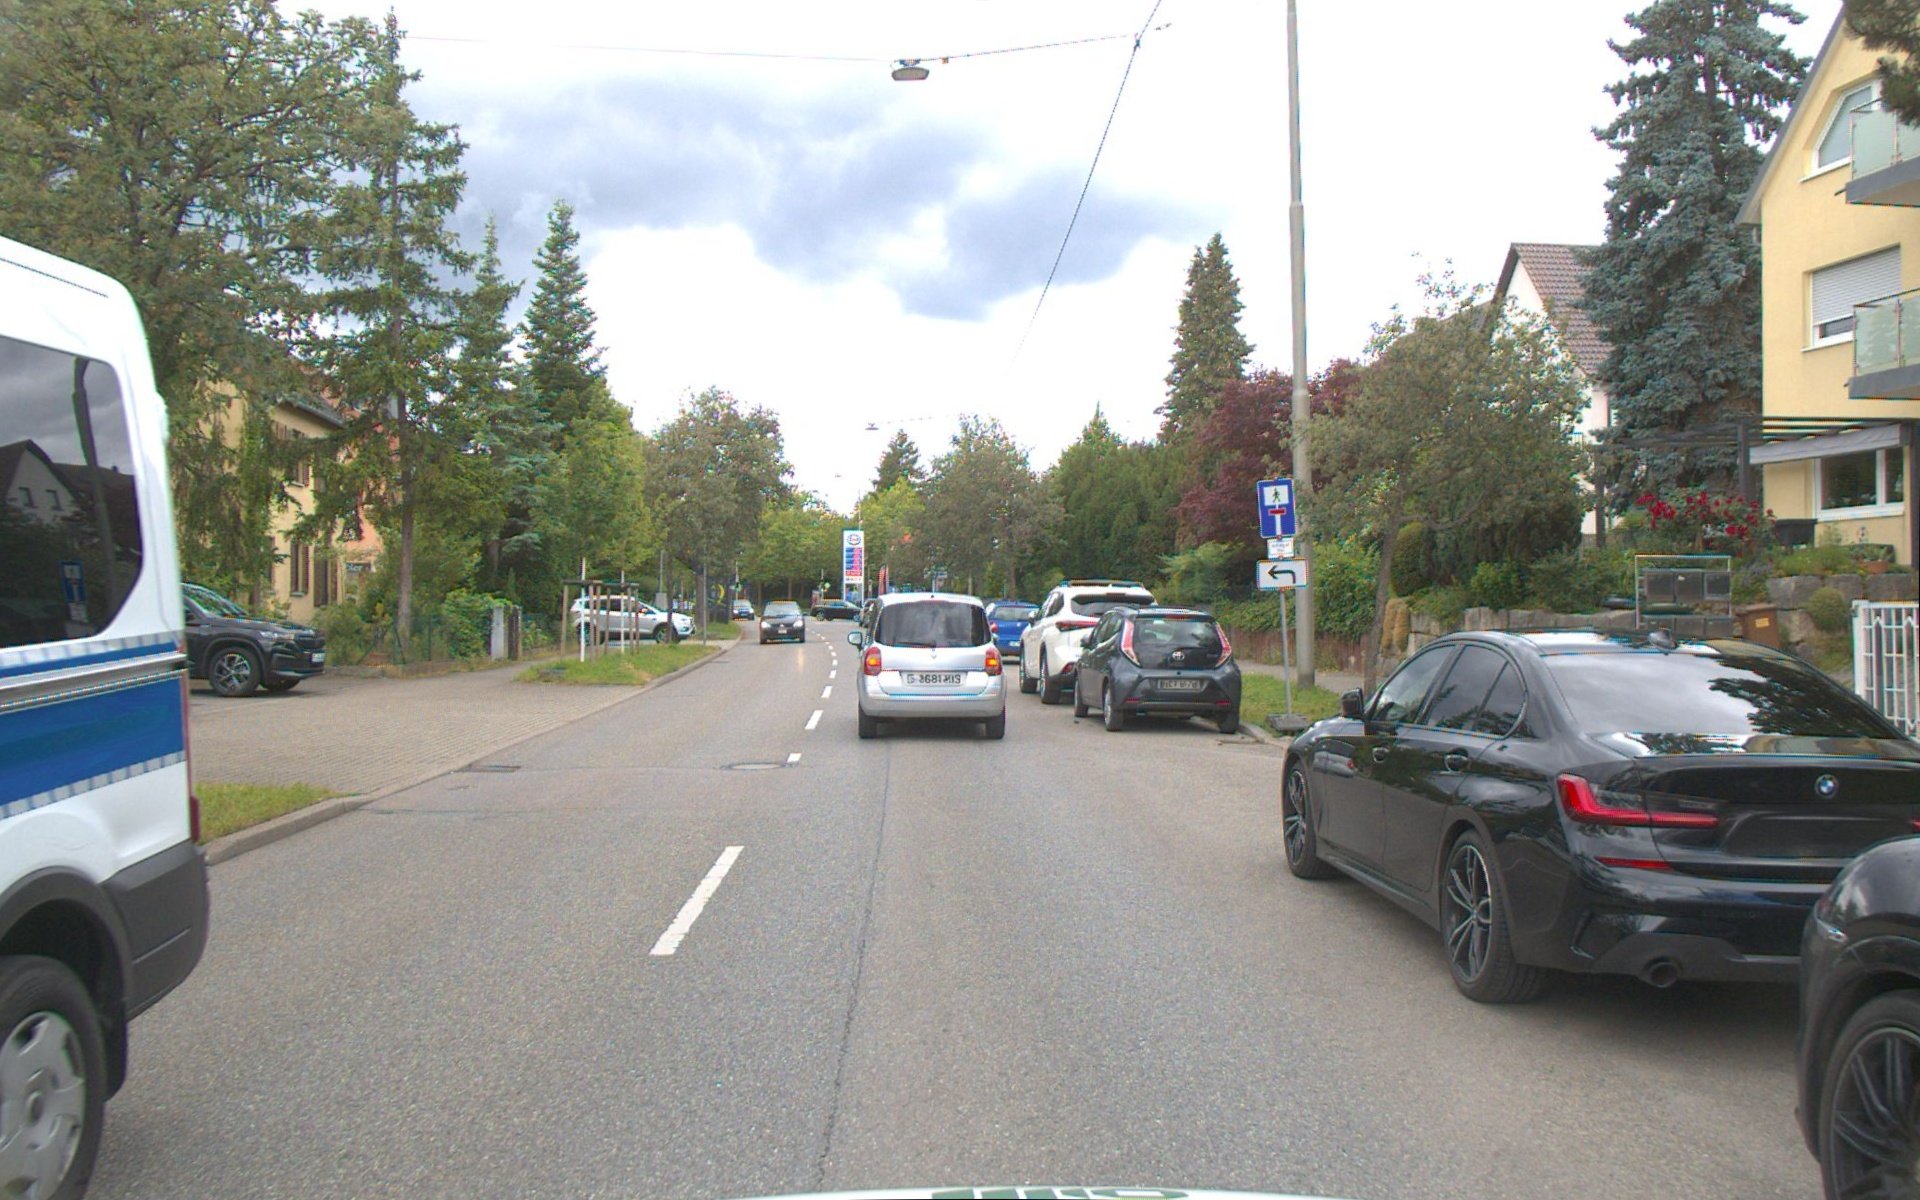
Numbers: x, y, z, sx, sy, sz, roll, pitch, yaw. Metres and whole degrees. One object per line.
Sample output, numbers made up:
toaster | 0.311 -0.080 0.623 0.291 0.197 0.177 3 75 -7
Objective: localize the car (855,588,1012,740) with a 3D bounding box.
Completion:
car | -0.329 0.684 19.207 1.645 1.587 3.510 0 0 -2

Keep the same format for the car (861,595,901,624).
car | -4.181 0.477 87.379 1.664 1.532 3.964 0 0 -9

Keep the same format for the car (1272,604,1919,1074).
car | 2.859 0.795 7.671 1.793 1.482 4.548 1 0 -2

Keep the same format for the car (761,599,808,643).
car | -6.318 0.742 59.848 1.544 1.498 3.467 -3 0 -5

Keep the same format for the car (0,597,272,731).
car | -10.360 0.690 18.941 4.198 1.392 1.813 2 0 -8

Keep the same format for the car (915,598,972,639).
car | -0.641 0.659 61.675 1.664 1.458 4.333 0 0 -7

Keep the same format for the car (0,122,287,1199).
car | -3.079 0.286 2.481 2.032 2.627 5.298 -2 0 -2

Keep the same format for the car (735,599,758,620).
car | -15.622 0.698 120.999 1.516 1.496 3.733 -1 0 -10

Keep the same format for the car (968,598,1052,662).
car | 1.189 0.703 40.874 1.595 1.477 3.871 -1 0 -5

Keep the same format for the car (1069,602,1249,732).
car | 2.415 0.779 20.801 1.528 1.468 3.503 1 0 -5

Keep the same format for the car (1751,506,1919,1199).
car | 2.943 0.694 1.937 1.793 1.742 4.548 1 0 -1

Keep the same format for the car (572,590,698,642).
car | -11.062 0.526 56.477 4.006 1.736 1.746 0 0 -4

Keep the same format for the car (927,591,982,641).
car | -0.227 0.521 56.538 1.661 1.584 3.953 -1 1 -3

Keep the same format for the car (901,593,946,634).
car | -1.527 0.535 67.825 1.662 1.598 3.952 0 0 -4

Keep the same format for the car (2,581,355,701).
car | -11.482 0.588 24.535 4.245 1.646 1.973 1 0 -1

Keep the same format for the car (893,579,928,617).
car | -4.004 -0.173 132.870 2.238 2.962 5.271 1 0 -7

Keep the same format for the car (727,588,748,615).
car | -20.677 0.122 153.748 1.898 2.450 3.992 0 0 -9

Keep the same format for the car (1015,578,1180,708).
car | 2.030 0.604 25.741 1.764 1.809 4.700 1 0 -5
